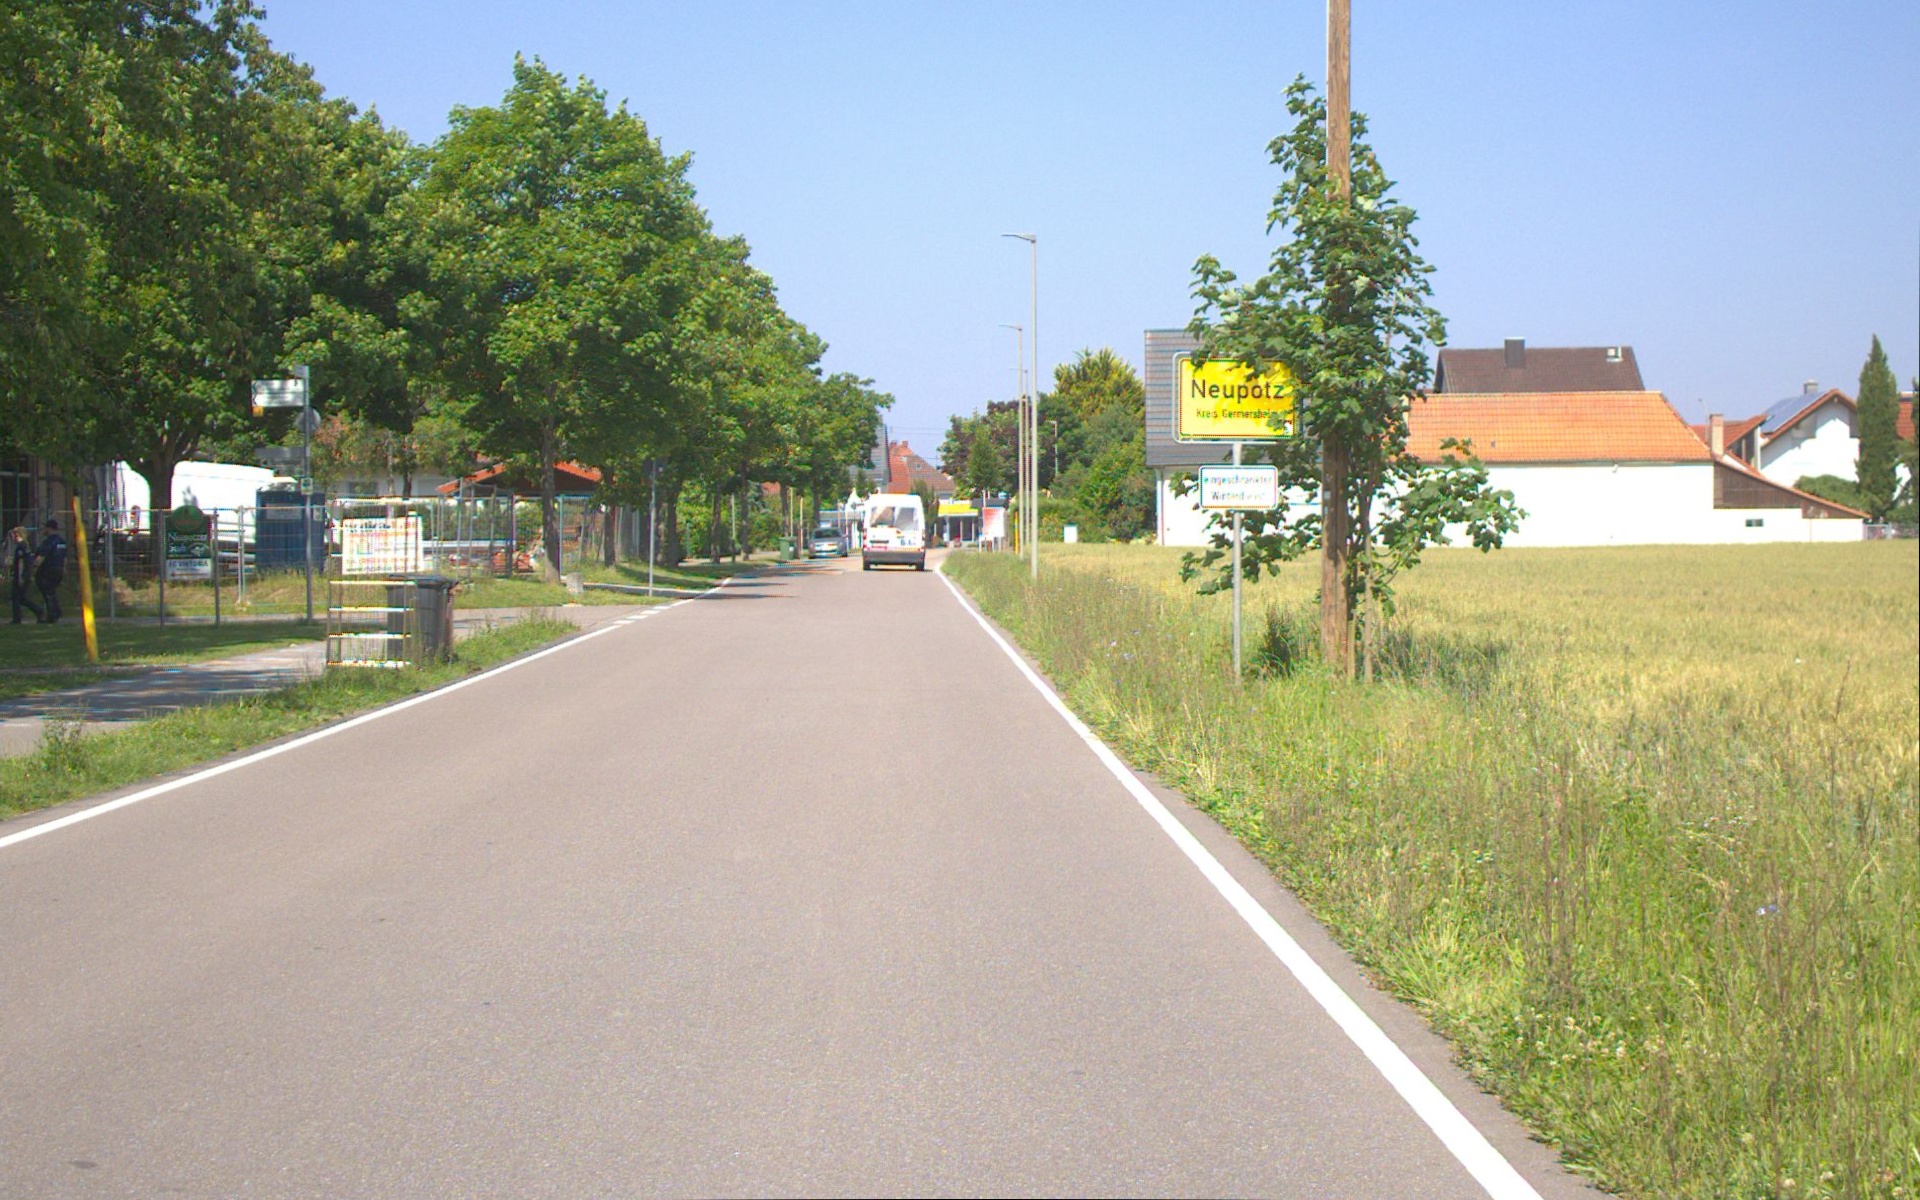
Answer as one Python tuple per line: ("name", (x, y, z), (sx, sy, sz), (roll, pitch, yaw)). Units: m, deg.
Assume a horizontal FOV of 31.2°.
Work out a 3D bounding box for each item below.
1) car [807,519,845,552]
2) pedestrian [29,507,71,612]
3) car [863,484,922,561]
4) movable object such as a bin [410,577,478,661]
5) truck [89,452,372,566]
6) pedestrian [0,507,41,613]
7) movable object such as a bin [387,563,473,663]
("car", (-6.305, -3.046, 162.185), (1.647, 1.419, 4.081), (-3, 1, -1))
("pedestrian", (-15.263, -0.686, 57.692), (0.603, 1.745, 0.587), (-1, 1, -10))
("car", (-2.166, -2.522, 111.553), (1.738, 2.424, 4.374), (-1, 1, 1))
("movable object such as a bin", (-5.531, 0.197, 36.887), (0.562, 0.874, 0.613), (-1, 1, 7))
("truck", (-16.290, -2.018, 76.990), (5.914, 2.475, 2.000), (-1, 1, -38))
("pedestrian", (-15.587, -0.668, 57.002), (0.603, 1.745, 0.587), (-1, 1, -10))
("movable object such as a bin", (-5.564, 0.136, 36.125), (0.699, 1.020, 0.748), (-1, 1, 7))
